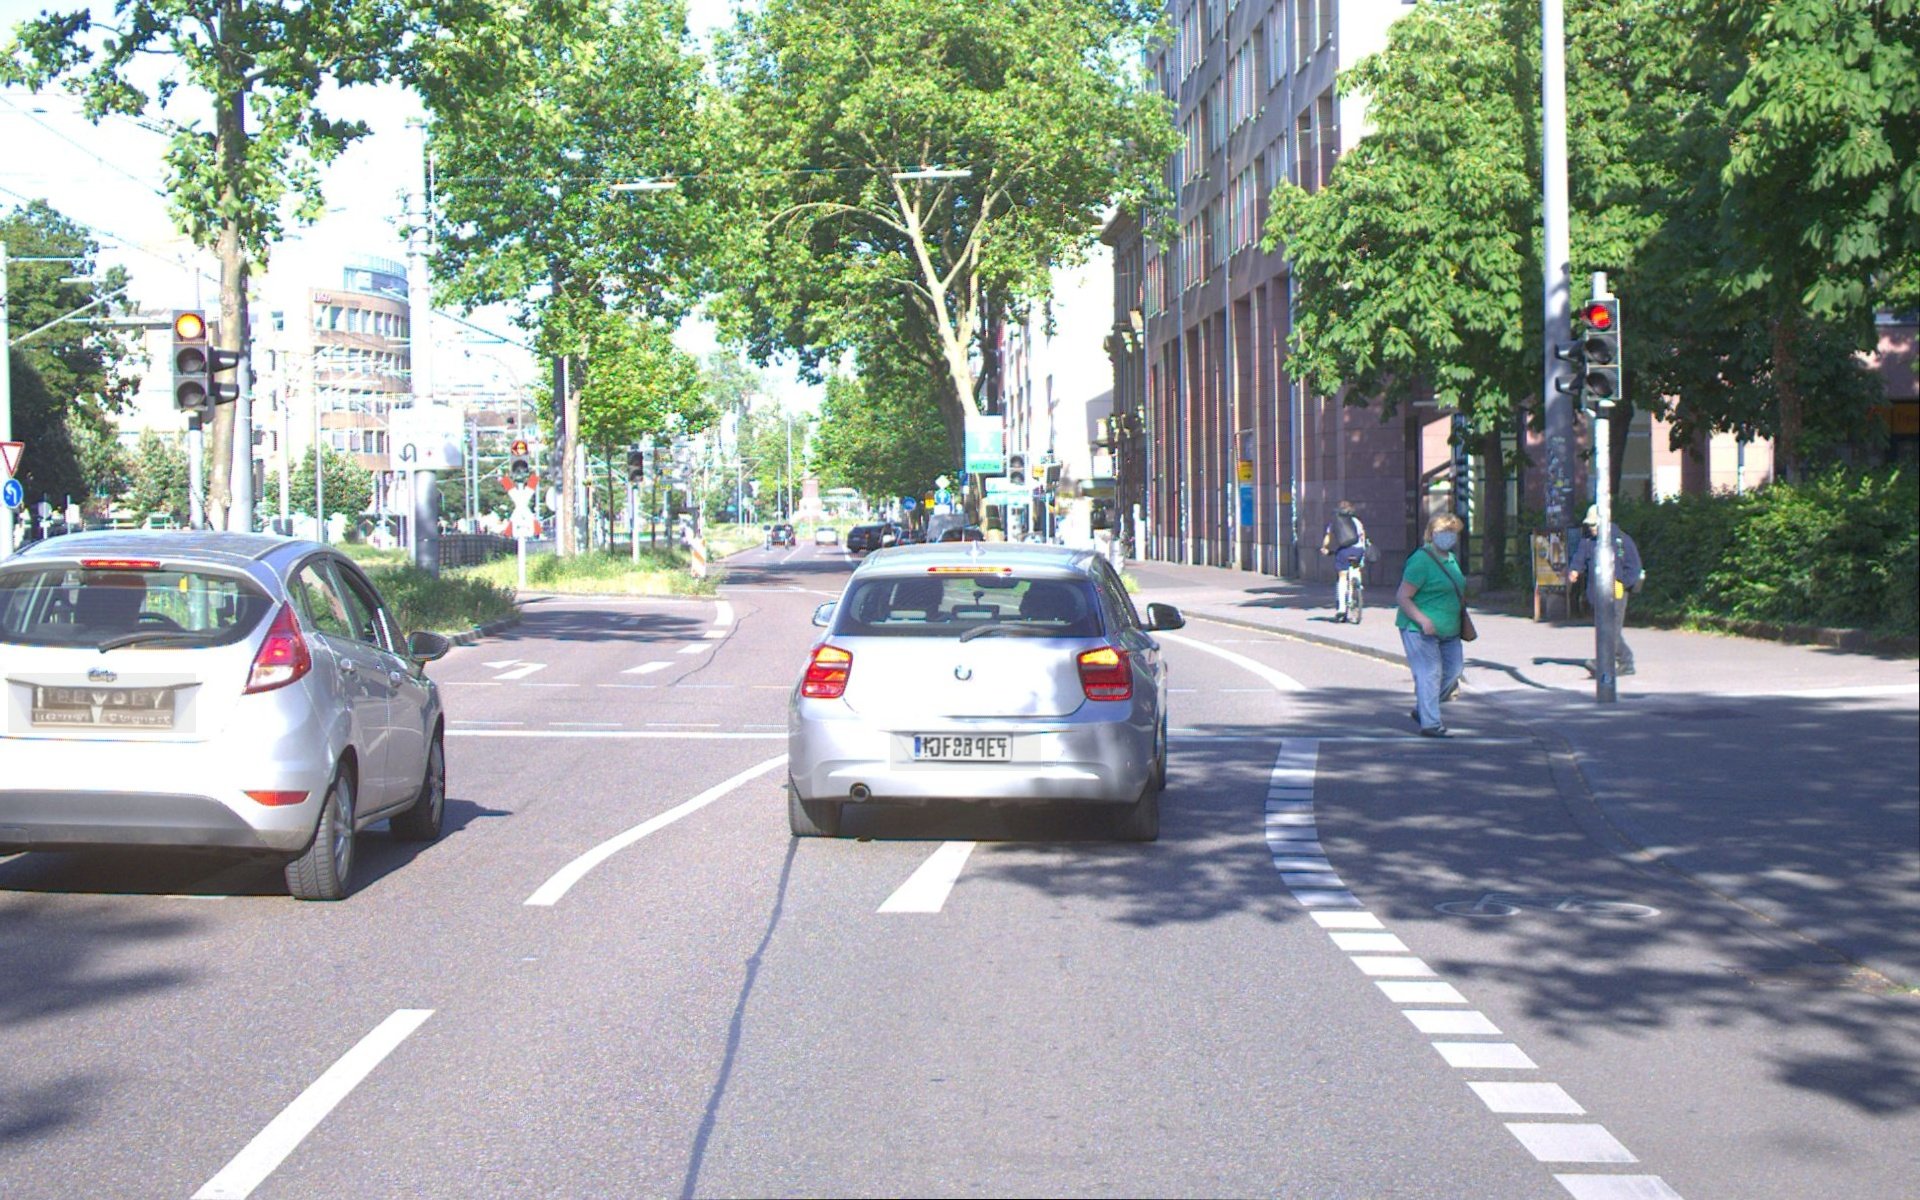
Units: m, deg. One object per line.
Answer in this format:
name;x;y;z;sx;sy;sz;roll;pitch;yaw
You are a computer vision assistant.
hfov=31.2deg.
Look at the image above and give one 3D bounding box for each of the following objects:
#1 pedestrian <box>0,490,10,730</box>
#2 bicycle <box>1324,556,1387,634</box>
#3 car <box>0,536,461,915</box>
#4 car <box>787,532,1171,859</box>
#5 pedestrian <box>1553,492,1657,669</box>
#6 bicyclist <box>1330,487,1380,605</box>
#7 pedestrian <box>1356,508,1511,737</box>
pedestrian;-6.763;0.070;23.050;0.639;1.614;0.641;-1;-1;-5
bicycle;5.639;-0.084;48.912;0.832;1.038;1.874;-1;1;8
car;-3.241;0.438;14.698;1.660;1.404;3.632;1;1;0
car;0.200;0.394;17.556;1.730;1.385;3.840;1;2;4
pedestrian;6.003;-0.191;31.979;0.628;1.623;0.942;1;1;33
bicyclist;5.615;-0.769;48.887;0.658;1.651;0.765;-1;1;8
pedestrian;3.352;0.146;24.304;0.831;1.570;0.738;2;2;30
